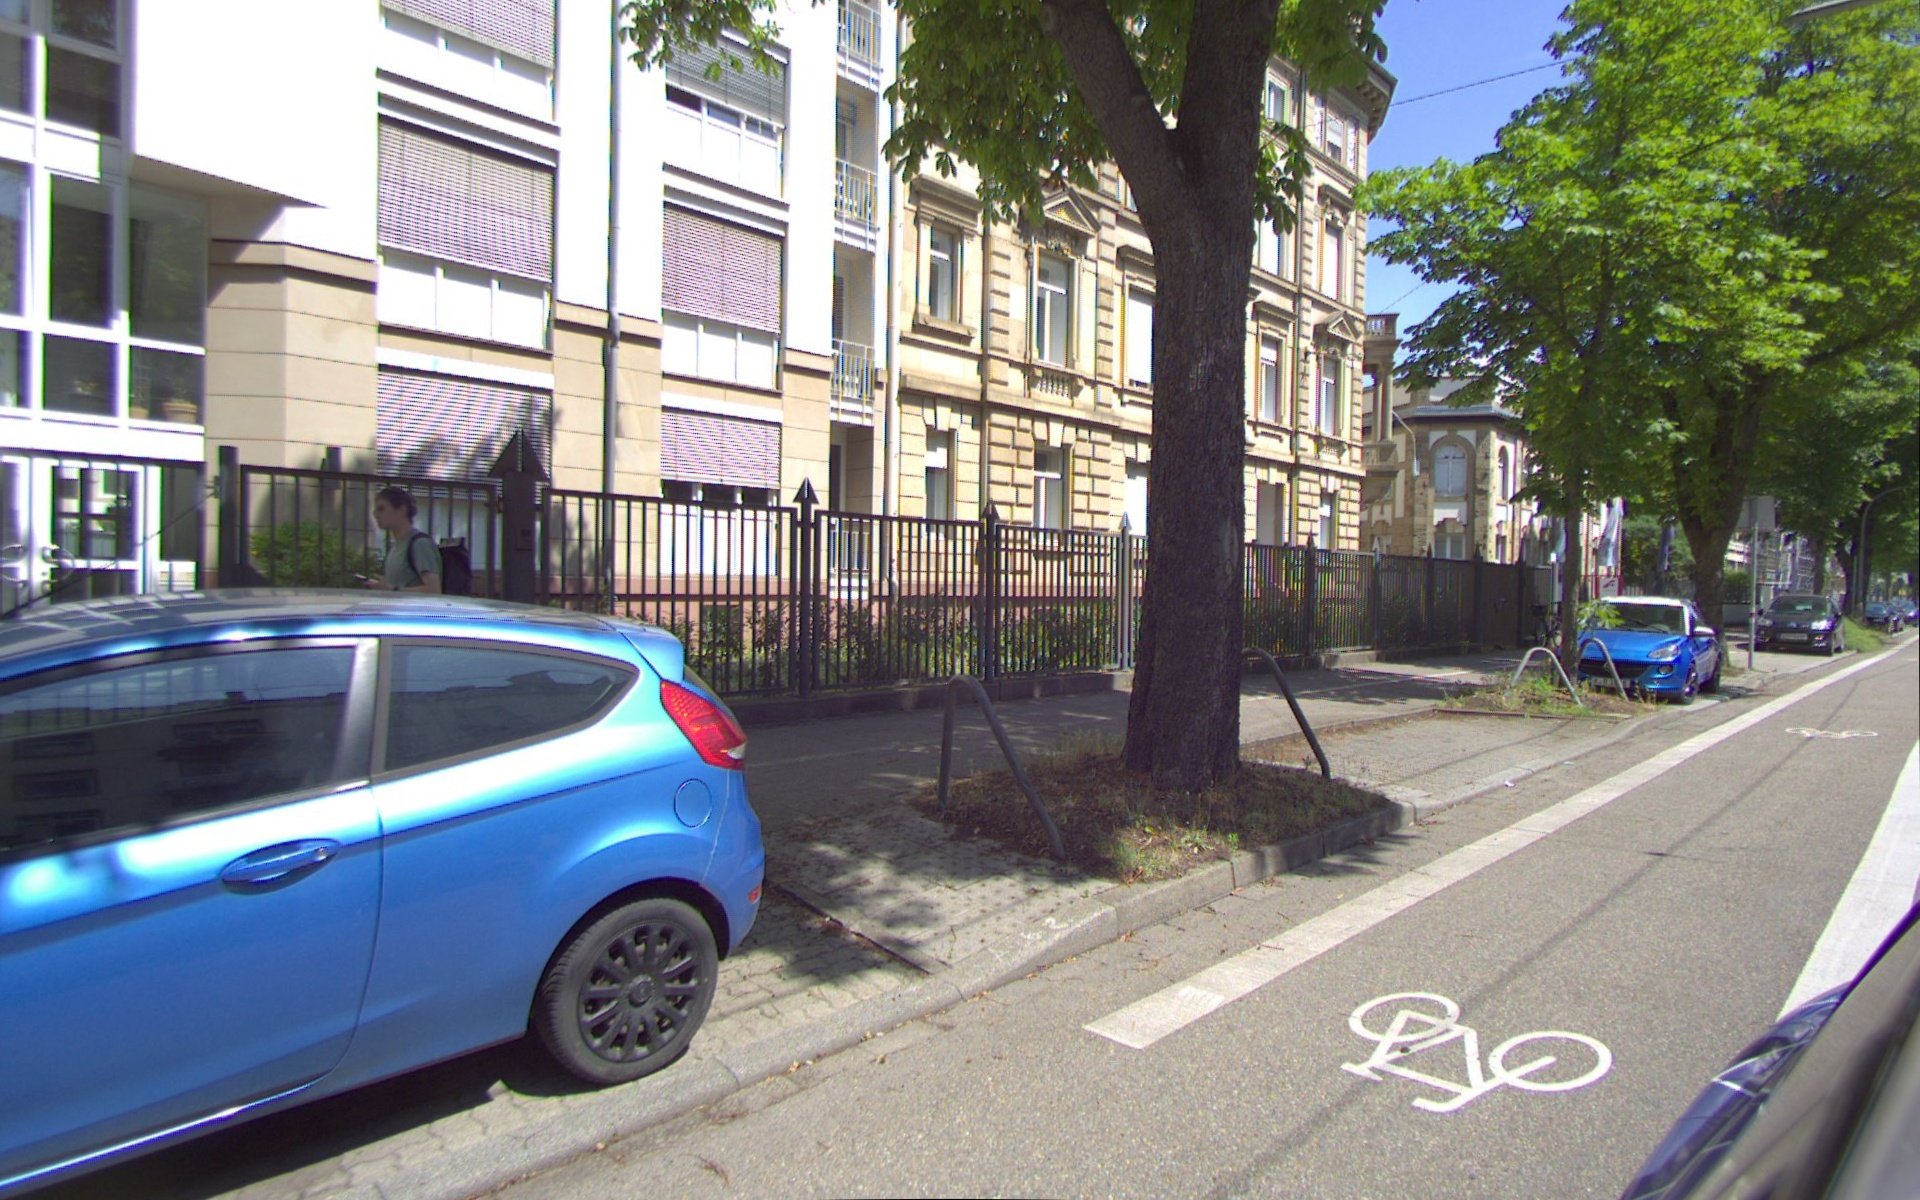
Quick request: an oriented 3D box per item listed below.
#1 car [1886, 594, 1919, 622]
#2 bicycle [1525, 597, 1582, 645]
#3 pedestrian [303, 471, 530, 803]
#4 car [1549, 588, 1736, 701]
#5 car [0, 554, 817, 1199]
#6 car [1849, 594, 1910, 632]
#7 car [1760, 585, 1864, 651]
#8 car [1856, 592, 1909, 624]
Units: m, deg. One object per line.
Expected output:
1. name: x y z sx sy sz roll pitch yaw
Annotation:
1. car: 53.131 0.449 56.657 3.934 1.420 1.624 0 4 -44
2. bicycle: 14.311 0.486 24.388 1.946 1.084 0.608 0 1 -42
3. pedestrian: -3.301 0.193 6.168 1.066 1.820 0.685 0 1 -44
4. car: 10.395 0.583 15.335 3.417 1.471 1.692 0 1 -45
5. car: -2.398 0.636 2.804 3.660 1.461 1.679 0 4 -45
6. car: 39.263 0.521 43.179 3.760 1.420 1.624 0 4 -44
7. car: 23.954 0.452 28.412 4.016 1.635 1.732 0 3 -44
8. car: 45.164 0.378 49.528 3.934 1.420 1.624 0 4 -44
